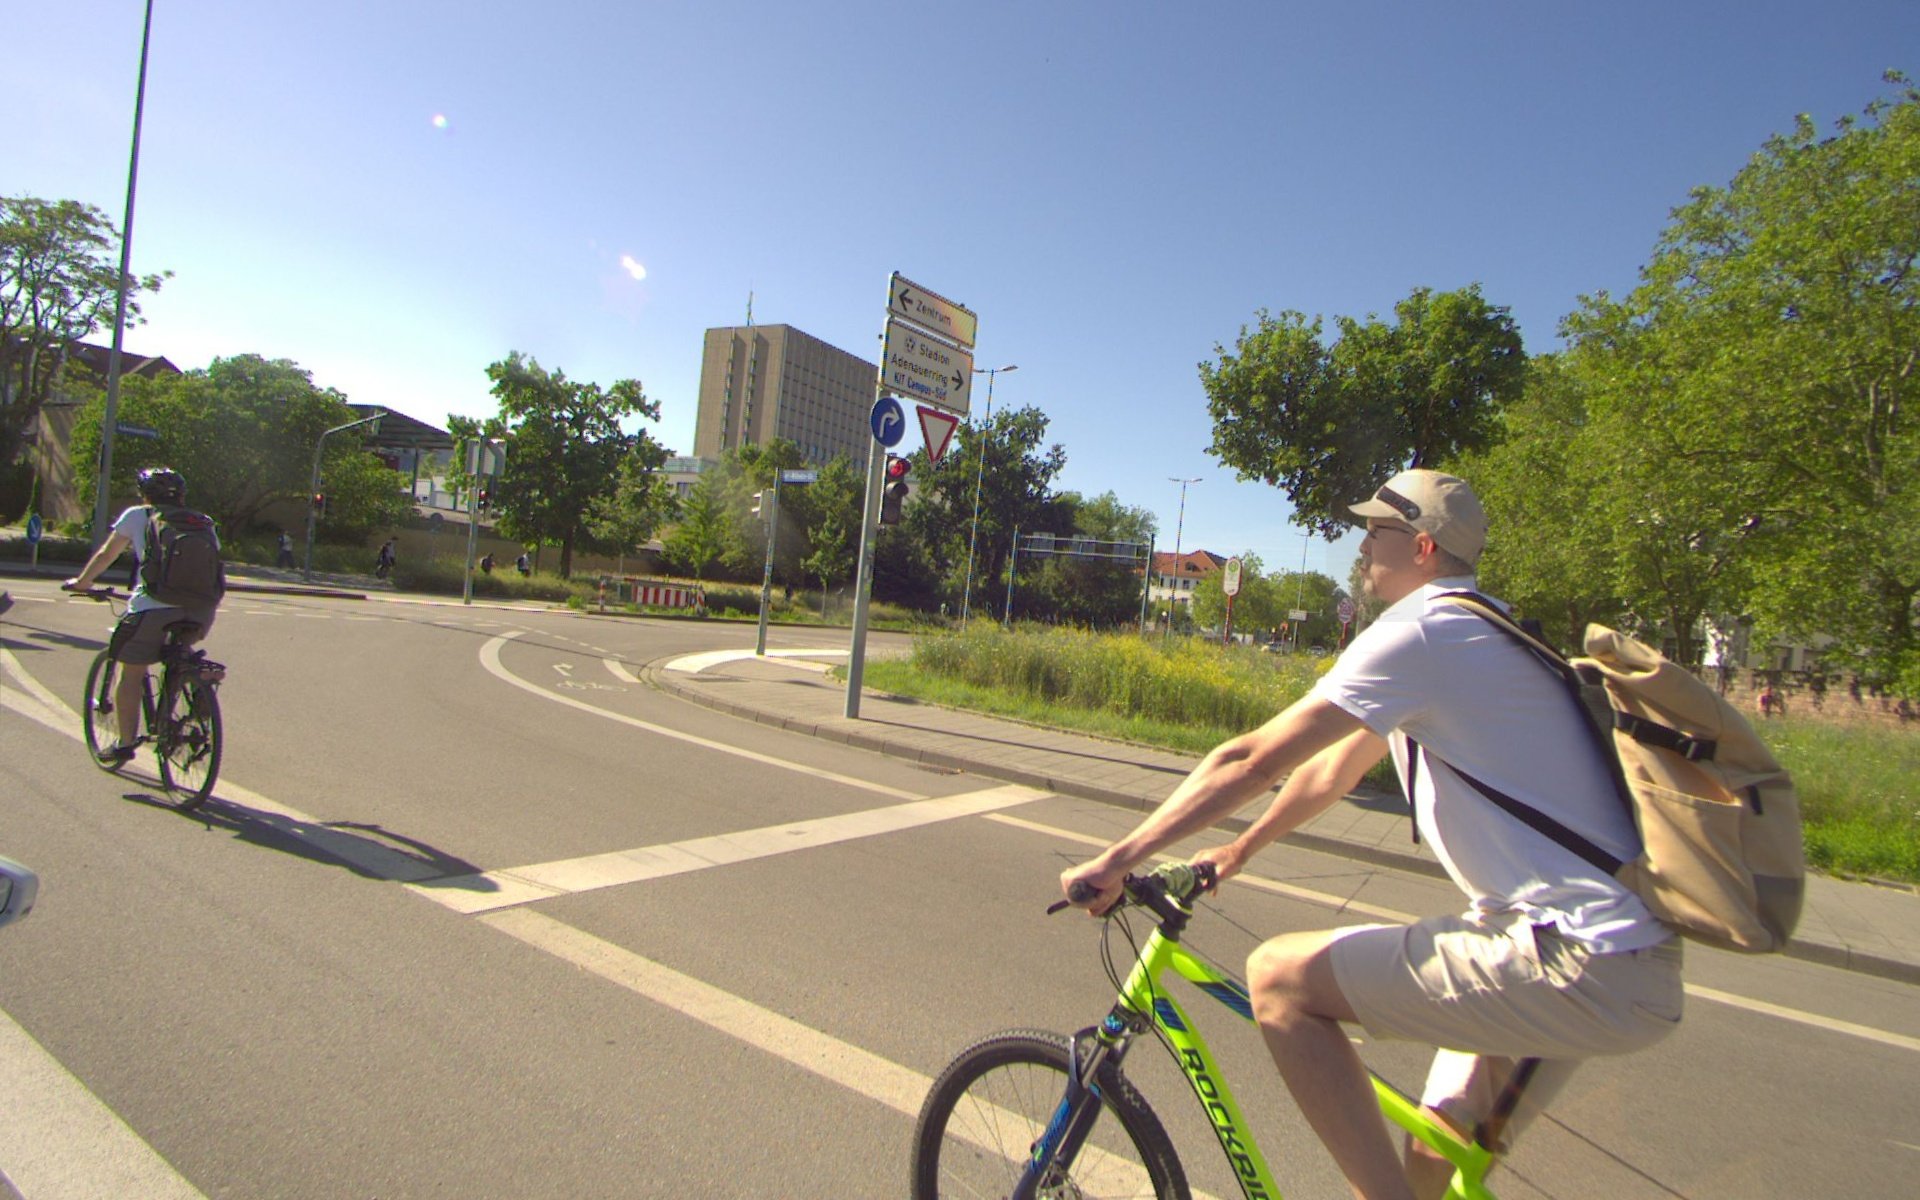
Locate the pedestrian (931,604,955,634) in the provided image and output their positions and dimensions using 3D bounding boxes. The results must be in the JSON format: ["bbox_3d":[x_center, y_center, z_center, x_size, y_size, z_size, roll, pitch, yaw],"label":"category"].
[{"bbox_3d":[-1.285,1.418,75.291,1.065,2.106,1.231,7,1,35],"label":"pedestrian"}]

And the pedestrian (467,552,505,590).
[{"bbox_3d":[-21.170,-1.284,44.945,0.927,1.540,1.145,7,1,38],"label":"pedestrian"}]

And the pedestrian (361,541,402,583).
[{"bbox_3d":[-23.647,-1.561,41.128,0.865,1.540,1.074,7,1,36],"label":"pedestrian"}]

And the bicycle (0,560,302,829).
[{"bbox_3d":[-4.463,0.455,5.509,1.795,1.152,0.616,7,0,30],"label":"bicycle"}]

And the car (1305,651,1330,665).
[{"bbox_3d":[47.500,7.731,133.670,1.967,1.625,4.507,7,0,33],"label":"car"}]

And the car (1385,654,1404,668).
[{"bbox_3d":[74.972,10.506,173.448,1.969,2.062,4.833,7,0,35],"label":"car"}]

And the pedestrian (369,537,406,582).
[{"bbox_3d":[-24.148,-1.703,42.426,0.912,1.754,0.962,7,1,39],"label":"pedestrian"}]

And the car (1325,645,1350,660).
[{"bbox_3d":[49.662,6.947,132.194,1.968,1.625,4.127,7,0,35],"label":"car"}]

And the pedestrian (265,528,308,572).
[{"bbox_3d":[-26.195,-1.929,39.116,0.917,1.540,1.083,7,1,41],"label":"pedestrian"}]

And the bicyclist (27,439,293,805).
[{"bbox_3d":[-4.356,0.101,5.487,0.924,1.806,0.678,6,-1,30],"label":"bicyclist"}]

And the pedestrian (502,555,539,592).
[{"bbox_3d":[-20.580,-1.239,47.110,0.975,1.540,1.129,7,1,35],"label":"pedestrian"}]

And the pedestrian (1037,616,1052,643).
[{"bbox_3d":[7.146,2.475,85.251,0.633,2.194,0.912,7,1,35],"label":"pedestrian"}]

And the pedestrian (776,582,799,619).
[{"bbox_3d":[-10.613,0.036,62.031,0.800,2.106,0.896,7,1,35],"label":"pedestrian"}]

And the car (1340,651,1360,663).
[{"bbox_3d":[62.125,9.084,160.351,1.892,1.625,4.072,7,0,35],"label":"car"}]

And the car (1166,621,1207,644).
[{"bbox_3d":[20.072,2.907,88.934,1.882,1.625,4.124,7,0,37],"label":"car"}]

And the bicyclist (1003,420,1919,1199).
[{"bbox_3d":[0.757,0.576,1.708,1.063,1.601,0.675,7,-1,31],"label":"bicyclist"}]

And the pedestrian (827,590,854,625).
[{"bbox_3d":[-7.609,0.471,63.865,0.966,2.106,1.186,7,1,35],"label":"pedestrian"}]

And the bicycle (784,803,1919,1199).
[{"bbox_3d":[0.626,1.087,1.743,1.813,1.063,0.672,7,-1,31],"label":"bicycle"}]

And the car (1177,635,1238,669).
[{"bbox_3d":[13.618,2.898,55.285,1.716,1.535,3.986,7,0,37],"label":"car"}]
